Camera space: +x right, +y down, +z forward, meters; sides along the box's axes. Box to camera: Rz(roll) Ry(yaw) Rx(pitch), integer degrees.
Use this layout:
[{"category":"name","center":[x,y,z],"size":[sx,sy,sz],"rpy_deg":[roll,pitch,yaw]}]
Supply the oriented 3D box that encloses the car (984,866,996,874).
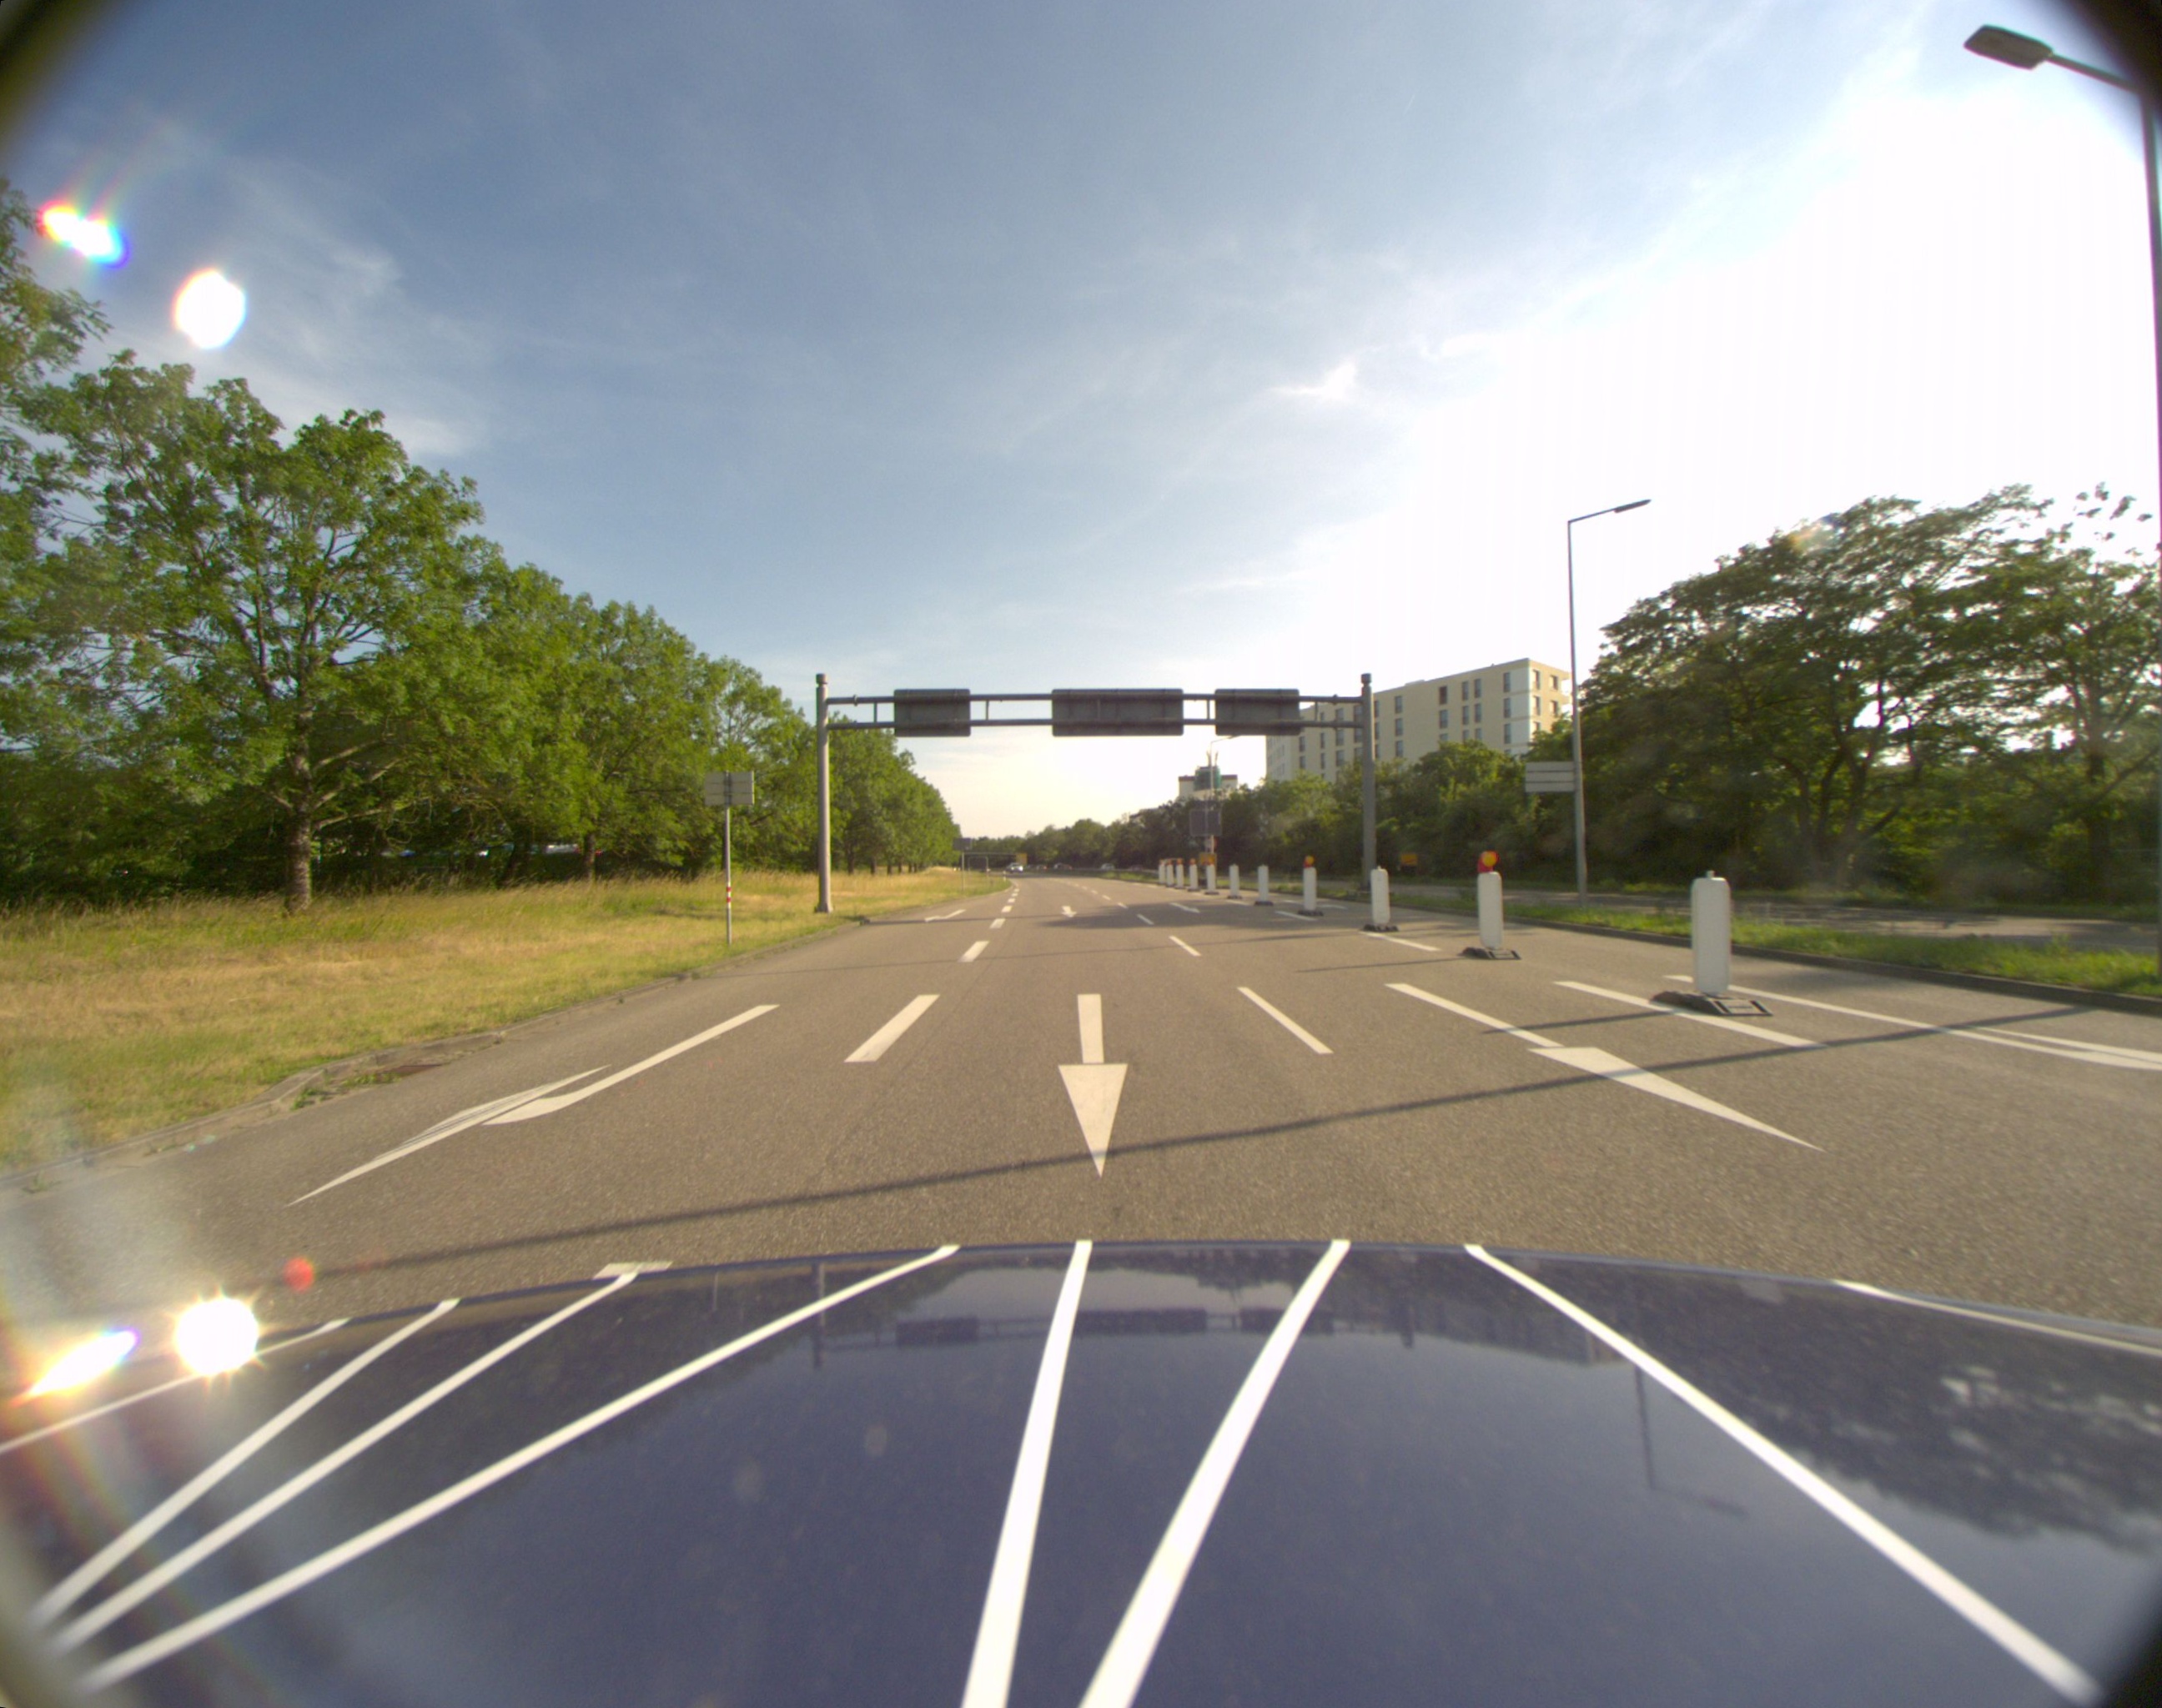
[{"category":"car","center":[-19.016,3.323,158.500],"size":[1.903,1.377,4.351],"rpy_deg":[-3,0,-13]}]

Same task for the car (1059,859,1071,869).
[{"category":"car","center":[-2.846,1.772,137.685],"size":[1.736,1.602,3.522],"rpy_deg":[-3,0,-7]}]

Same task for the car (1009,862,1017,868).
[{"category":"car","center":[-19.544,3.128,217.128],"size":[1.609,1.432,3.232],"rpy_deg":[-3,0,-16]}]

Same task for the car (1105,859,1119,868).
[{"category":"car","center":[4.916,1.540,120.759],"size":[1.645,1.368,4.062],"rpy_deg":[-2,0,-7]}]

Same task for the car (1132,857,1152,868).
[{"category":"car","center":[6.717,0.904,84.324],"size":[1.516,1.151,3.670],"rpy_deg":[-2,0,-6]}]

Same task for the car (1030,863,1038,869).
[{"category":"car","center":[-11.691,3.000,188.277],"size":[1.608,1.433,3.233],"rpy_deg":[-3,0,-12]}]

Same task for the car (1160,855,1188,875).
[{"category":"car","center":[8.649,1.006,70.881],"size":[1.790,1.796,4.122],"rpy_deg":[-1,0,-5]}]

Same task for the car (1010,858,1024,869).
[{"category":"car","center":[-11.430,1.723,135.838],"size":[1.903,1.813,4.351],"rpy_deg":[-3,0,-13]}]

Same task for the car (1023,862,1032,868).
[{"category":"car","center":[-12.558,2.551,178.408],"size":[1.609,1.433,3.232],"rpy_deg":[-3,0,-14]}]
